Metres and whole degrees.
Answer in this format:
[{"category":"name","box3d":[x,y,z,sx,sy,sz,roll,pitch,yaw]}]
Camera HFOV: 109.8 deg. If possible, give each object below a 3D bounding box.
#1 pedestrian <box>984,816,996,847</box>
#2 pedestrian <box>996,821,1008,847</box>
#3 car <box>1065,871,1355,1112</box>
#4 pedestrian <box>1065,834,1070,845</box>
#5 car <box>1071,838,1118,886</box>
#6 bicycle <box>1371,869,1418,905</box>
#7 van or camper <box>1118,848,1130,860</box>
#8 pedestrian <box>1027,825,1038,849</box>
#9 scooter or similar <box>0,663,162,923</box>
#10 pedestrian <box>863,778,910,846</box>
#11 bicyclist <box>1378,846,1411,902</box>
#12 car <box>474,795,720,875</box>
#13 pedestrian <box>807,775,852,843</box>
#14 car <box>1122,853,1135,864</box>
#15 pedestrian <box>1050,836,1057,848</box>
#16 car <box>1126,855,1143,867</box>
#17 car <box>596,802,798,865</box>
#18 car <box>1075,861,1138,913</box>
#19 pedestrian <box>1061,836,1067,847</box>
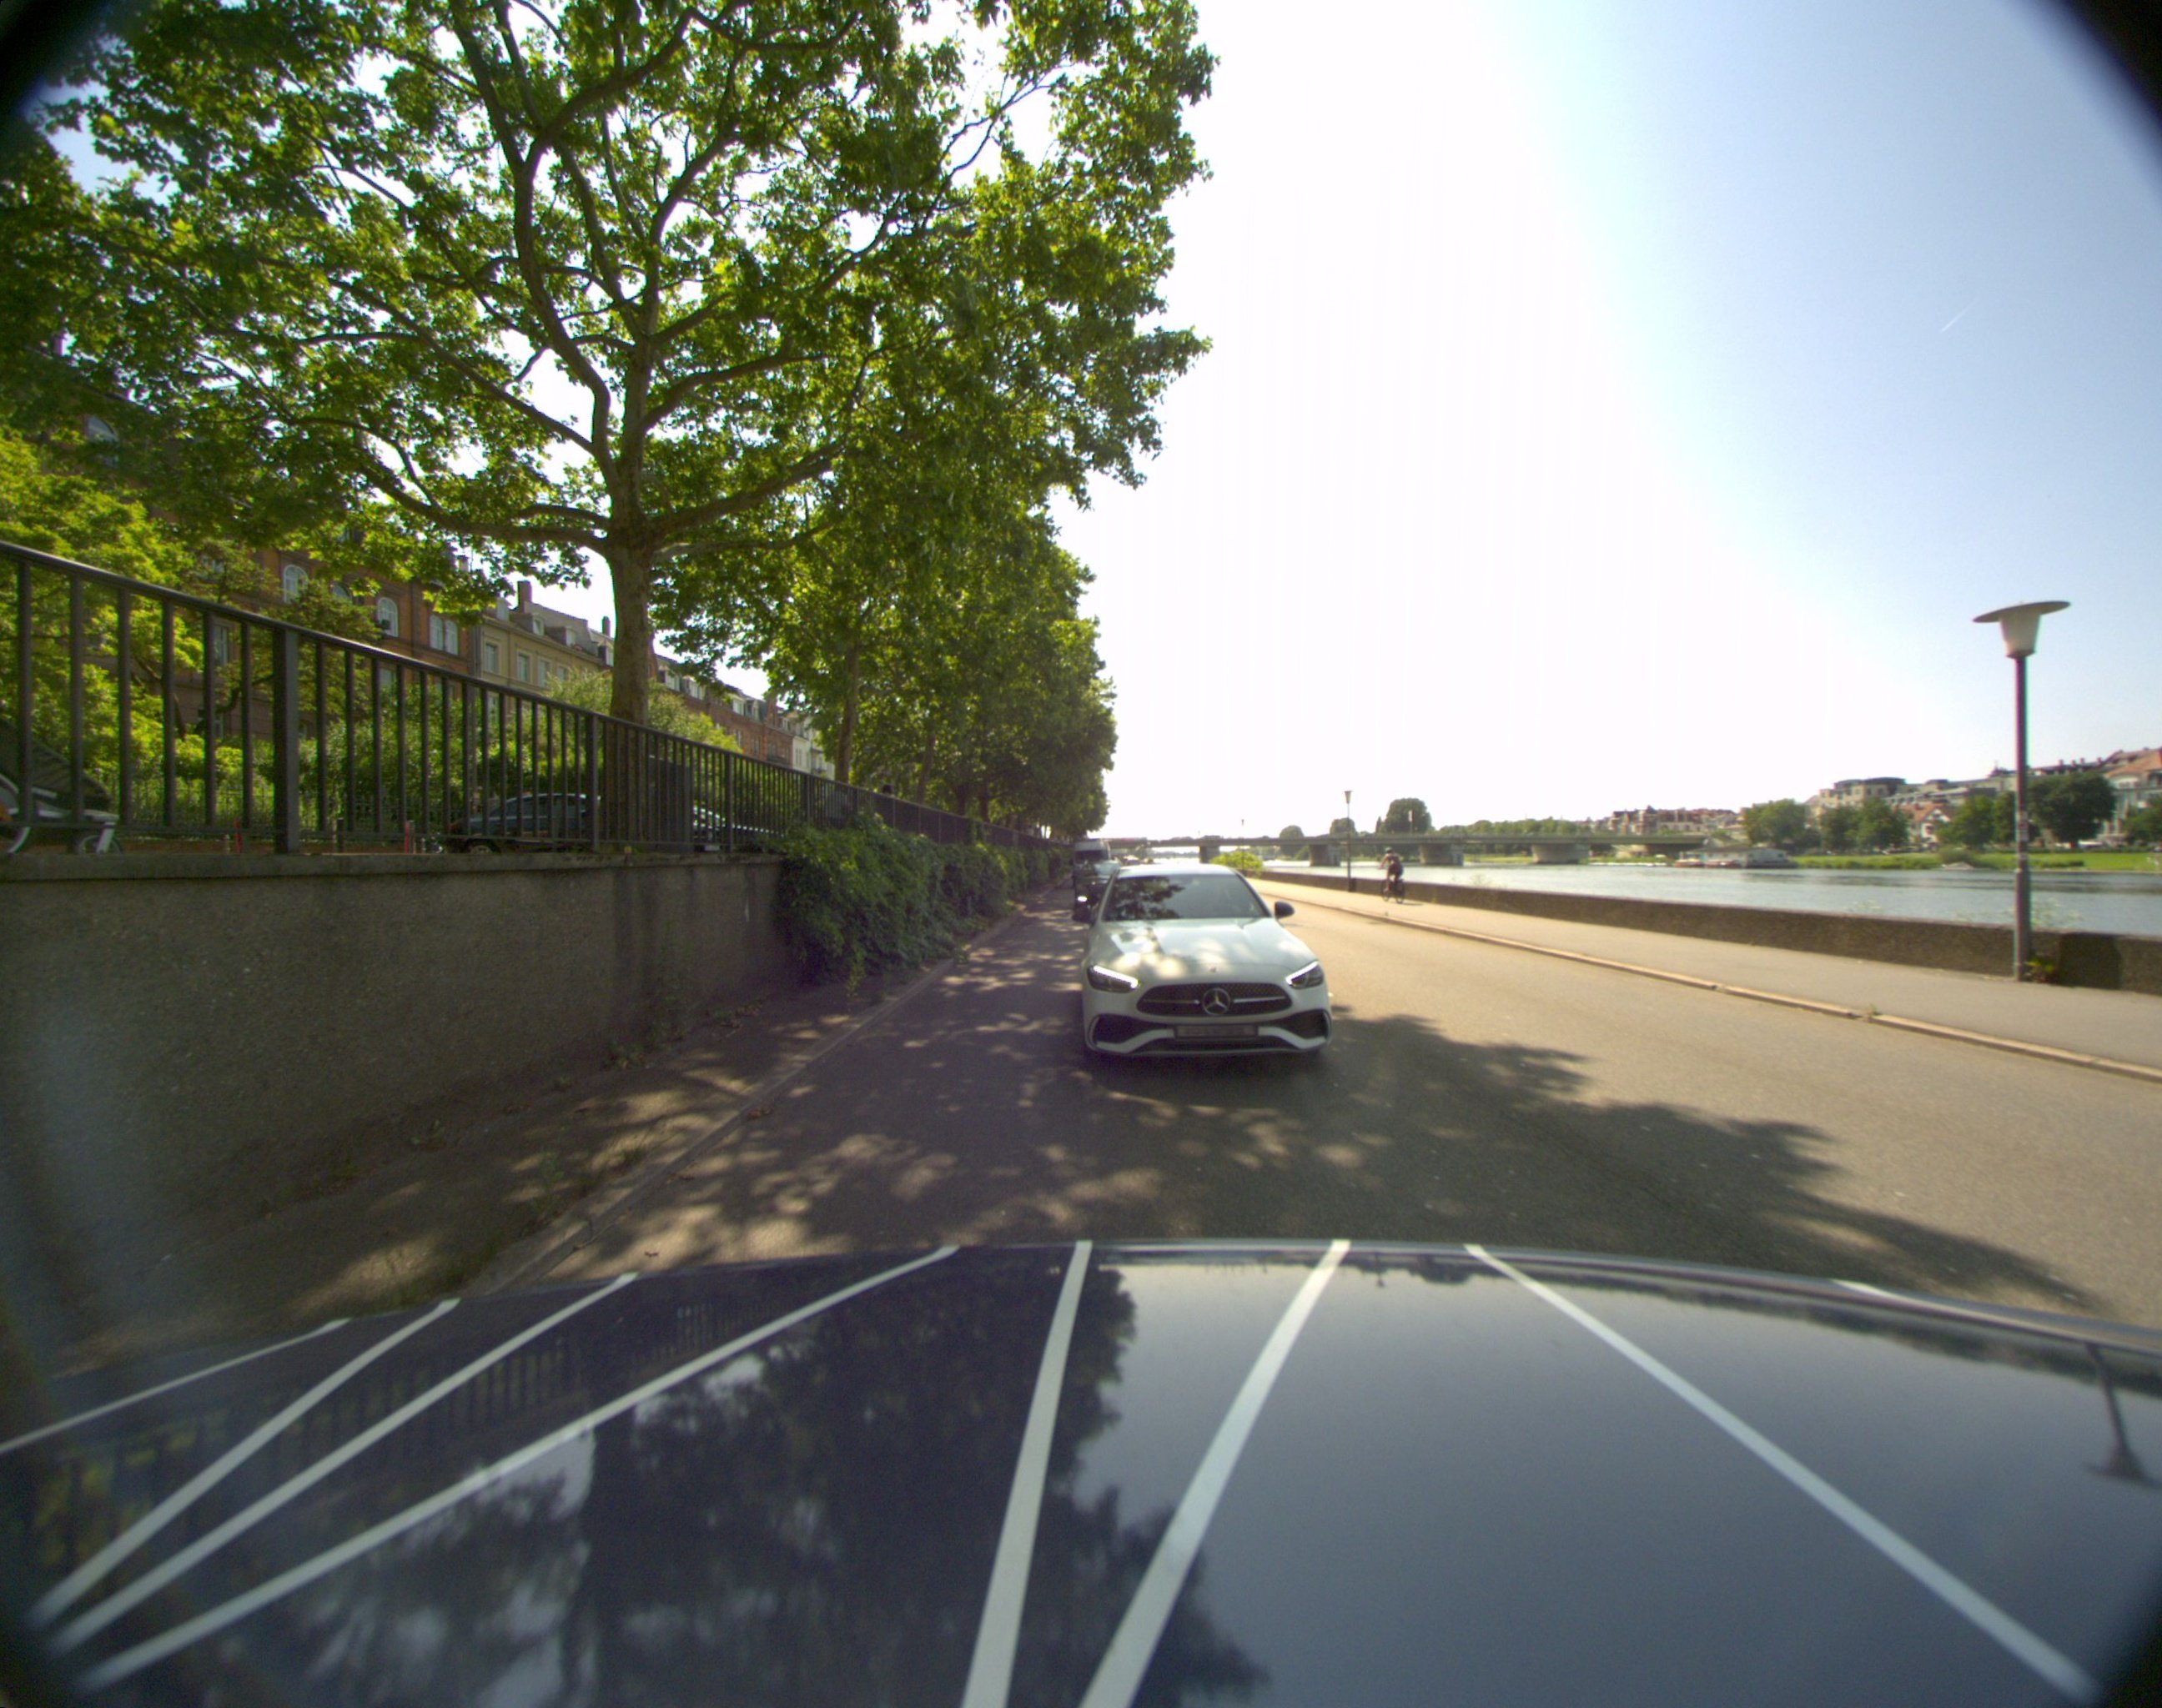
[{"category":"pedestrian","box3d":[-4.775,-1.161,39.883,0.649,1.630,0.626,0,1,-7]},{"category":"pedestrian","box3d":[-4.200,-1.057,40.357,0.586,1.411,0.589,0,1,-7]},{"category":"car","box3d":[0.886,0.945,7.179,1.830,1.411,4.552,-2,0,1]},{"category":"pedestrian","box3d":[-1.944,-2.136,112.318,0.666,1.582,0.765,0,1,1]},{"category":"car","box3d":[0.715,0.398,41.342,2.351,2.428,6.208,0,0,0]},{"category":"bicycle","box3d":[9.551,0.986,23.240,0.634,1.006,1.986,0,0,0]},{"category":"van or camper","box3d":[8.730,-0.055,155.177,2.082,2.384,5.385,1,0,1]},{"category":"pedestrian","box3d":[-3.124,-1.091,49.164,0.666,1.582,0.651,0,1,1]},{"category":"scooter or similar","box3d":[-4.678,-0.252,2.948,0.857,1.020,1.107,2,0,0]},{"category":"pedestrian","box3d":[-4.124,-0.873,16.147,0.755,1.358,0.814,2,0,-1]},{"category":"bicyclist","box3d":[9.474,0.582,22.967,0.639,1.664,0.871,0,0,0]},{"category":"car","box3d":[-8.439,-0.331,13.353,3.528,1.228,1.516,2,0,11]},{"category":"pedestrian","box3d":[-5.277,-0.922,15.997,0.645,1.358,0.794,2,0,-1]},{"category":"car","box3d":[7.316,0.729,117.708,1.736,1.640,4.177,1,0,0]},{"category":"pedestrian","box3d":[-2.847,-1.260,79.664,0.713,1.236,0.742,0,1,0]},{"category":"car","box3d":[6.433,0.857,91.941,1.736,1.433,4.045,1,0,0]},{"category":"car","box3d":[-8.648,-0.441,17.393,3.737,1.228,1.673,2,0,-8]},{"category":"car","box3d":[0.736,0.967,24.102,1.756,1.385,4.619,-2,0,0]},{"category":"pedestrian","box3d":[-2.321,-1.686,102.719,0.738,1.582,0.811,0,1,1]}]
